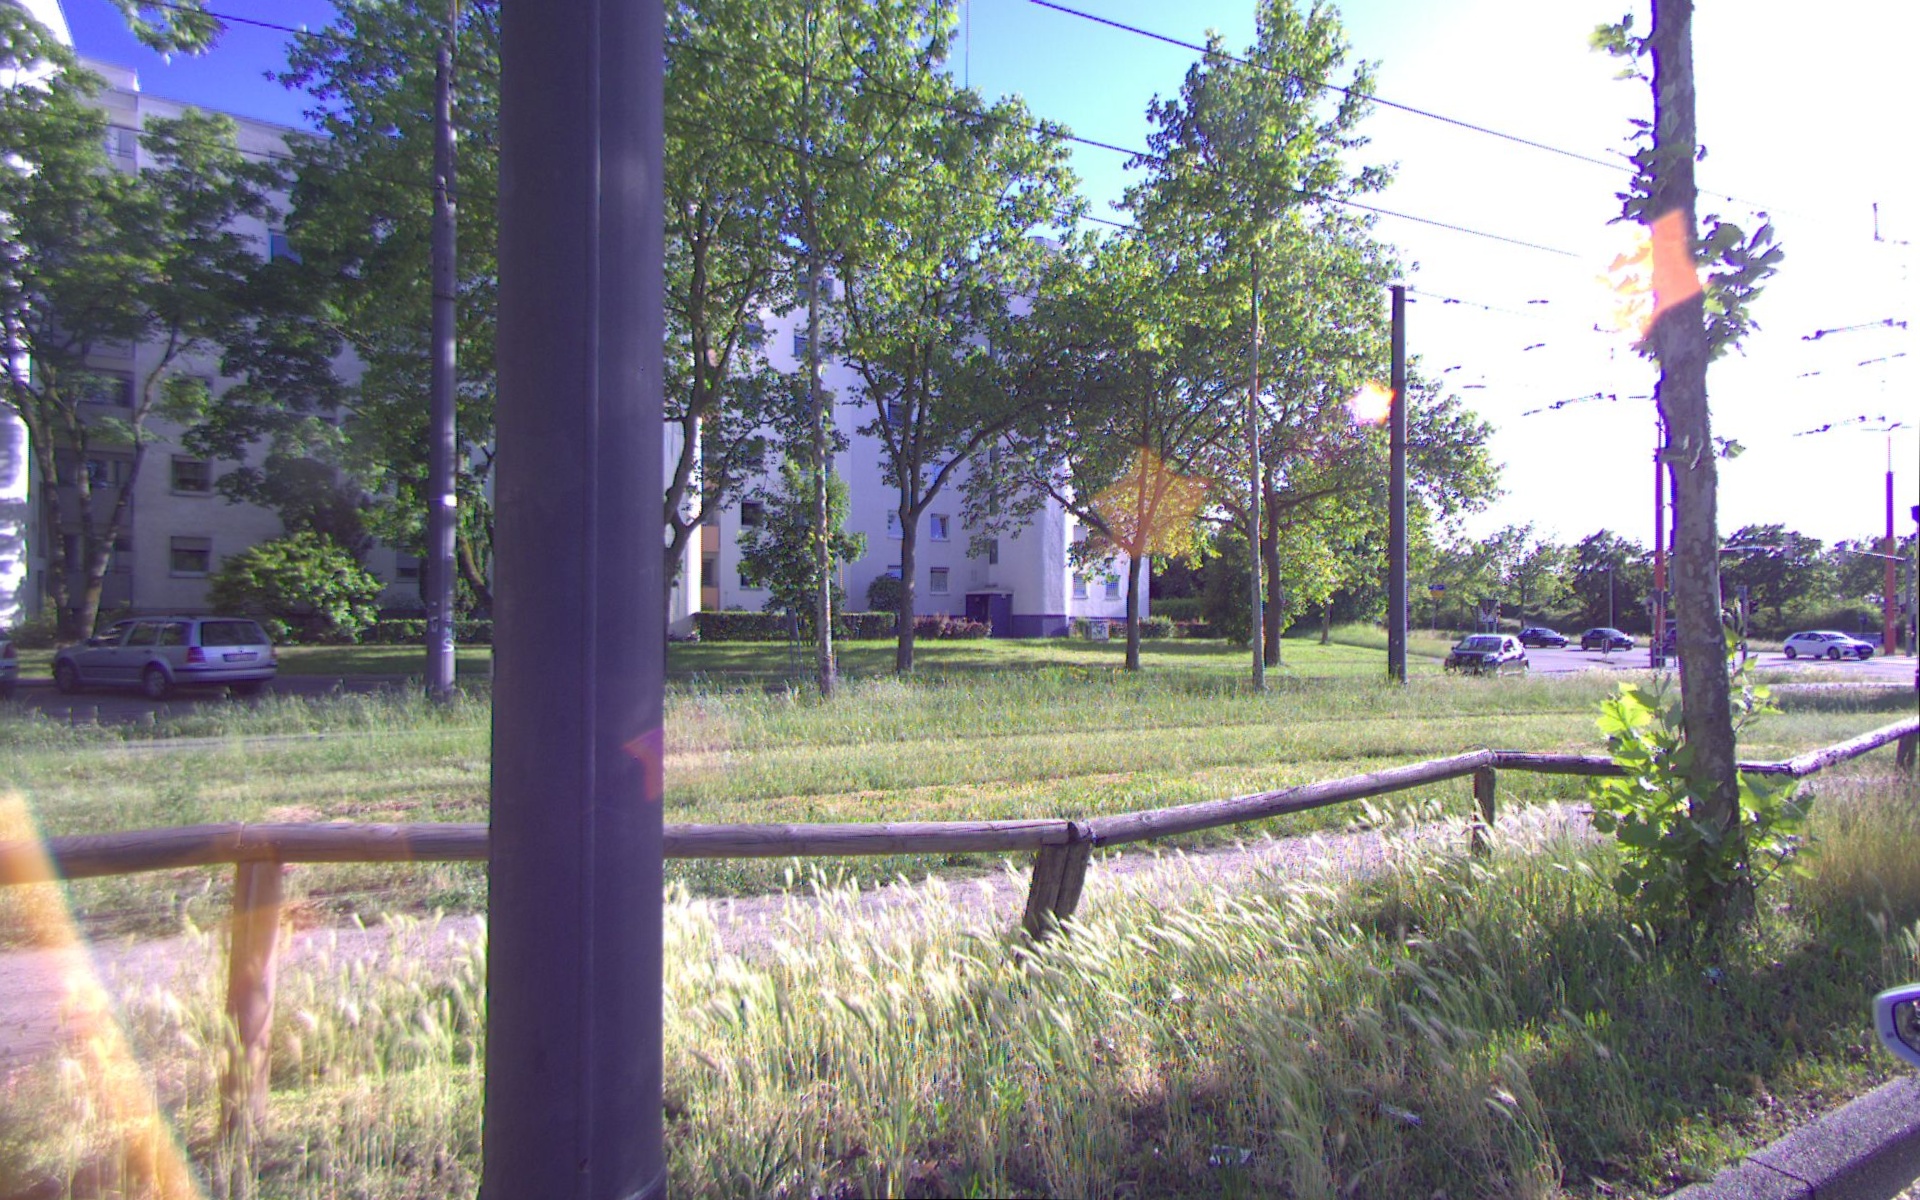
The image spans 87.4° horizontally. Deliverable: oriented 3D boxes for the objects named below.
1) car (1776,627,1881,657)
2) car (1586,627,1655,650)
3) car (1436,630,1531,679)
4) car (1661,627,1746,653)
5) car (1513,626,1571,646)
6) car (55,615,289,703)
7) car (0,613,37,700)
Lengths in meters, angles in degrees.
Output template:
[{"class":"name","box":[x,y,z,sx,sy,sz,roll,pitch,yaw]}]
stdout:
[{"class":"car","box":[45.911,2.190,53.229,1.877,1.483,4.222,1,-1,-2]},{"class":"car","box":[45.252,2.619,68.913,1.877,1.483,4.055,1,-1,-3]},{"class":"car","box":[16.873,1.708,32.306,1.801,1.439,3.737,0,-1,43]},{"class":"car","box":[45.653,2.450,61.796,1.877,1.483,4.373,1,-1,-2]},{"class":"car","box":[45.071,2.751,77.907,1.877,1.483,4.239,1,-1,-3]},{"class":"car","box":[-14.476,1.030,18.487,3.609,1.452,1.732,0,-1,20]},{"class":"car","box":[-17.920,0.931,17.143,3.609,1.452,1.703,0,-1,20]}]
